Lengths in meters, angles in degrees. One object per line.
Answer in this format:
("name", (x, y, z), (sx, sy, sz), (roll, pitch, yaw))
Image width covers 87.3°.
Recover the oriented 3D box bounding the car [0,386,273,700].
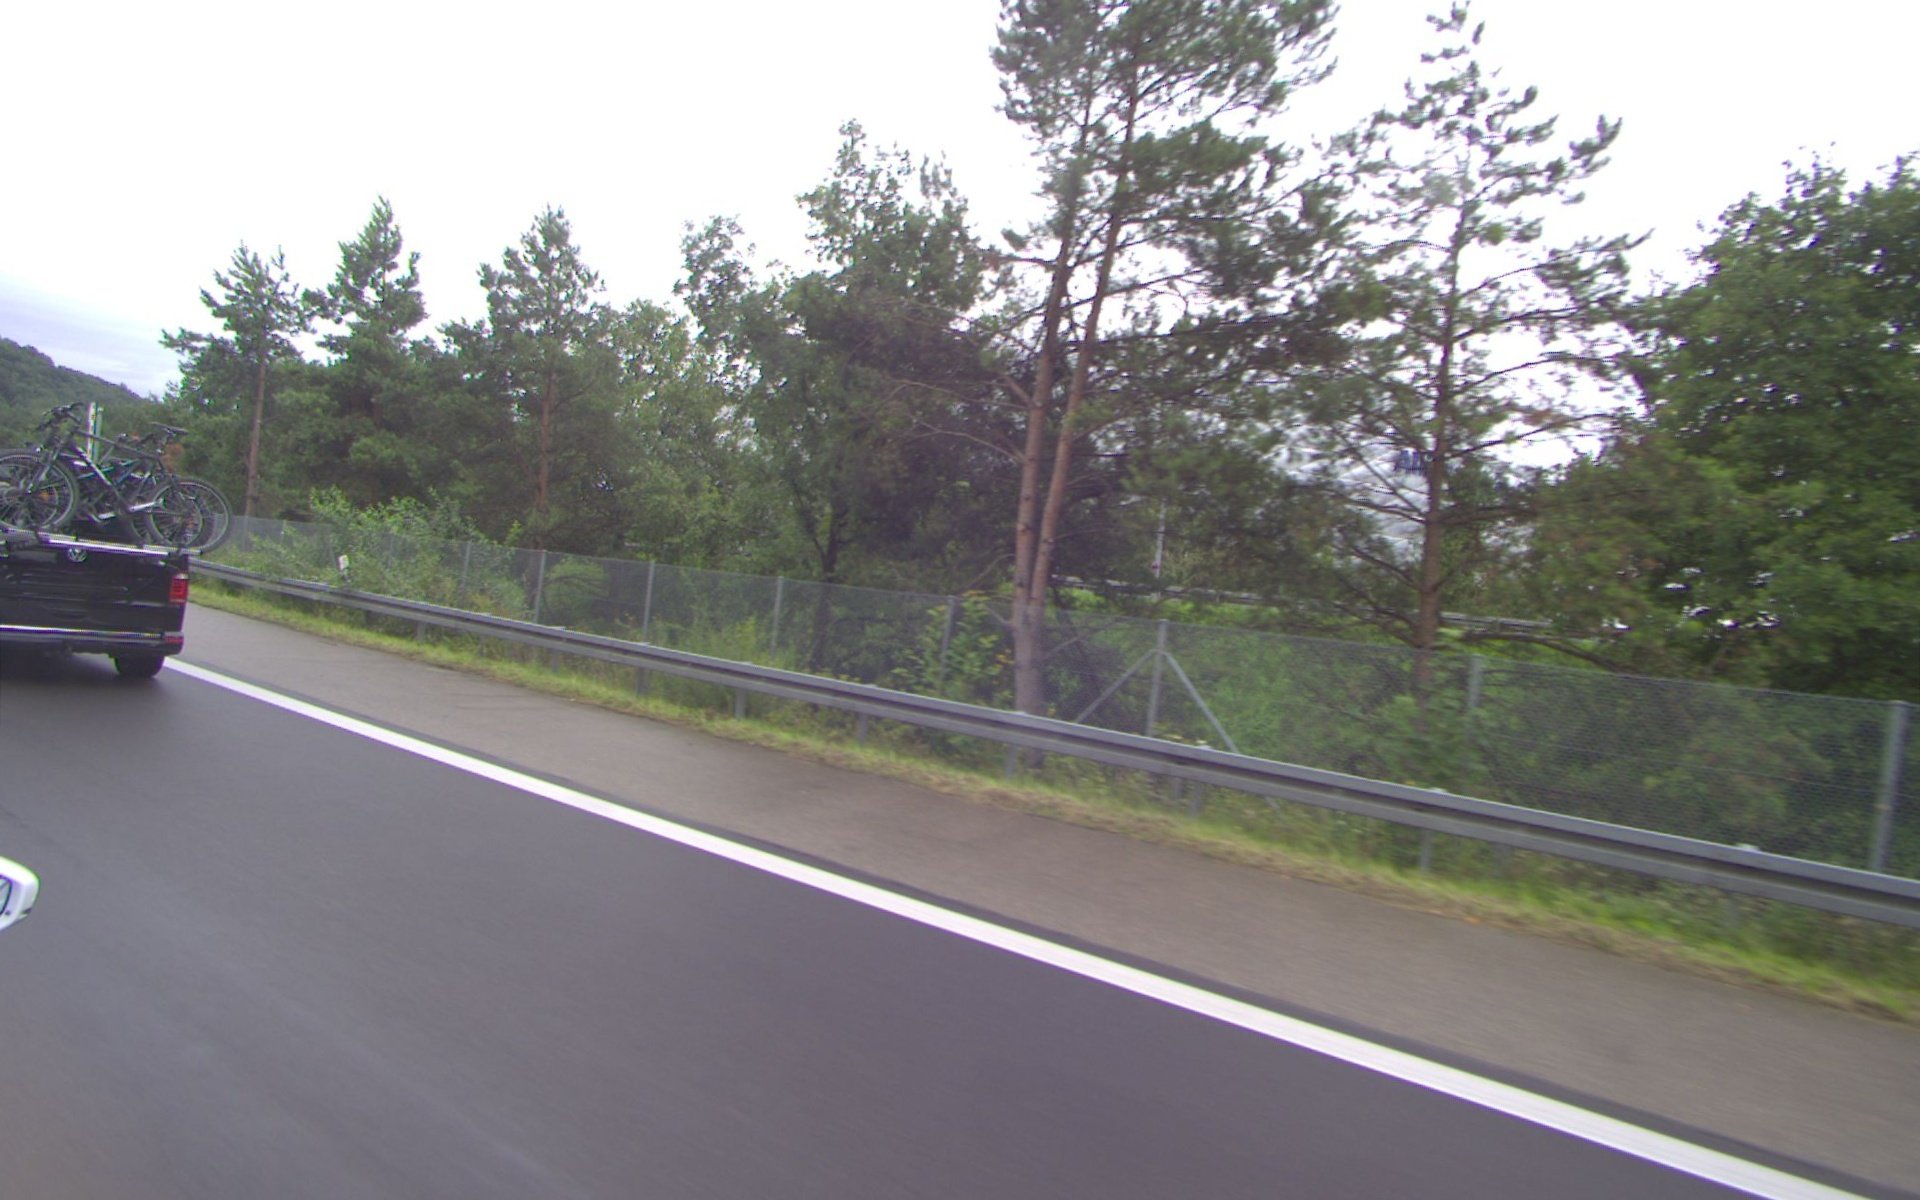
("car", (-9.263, -0.649, 9.716), (5.801, 2.290, 2.114), (7, -2, 34))
